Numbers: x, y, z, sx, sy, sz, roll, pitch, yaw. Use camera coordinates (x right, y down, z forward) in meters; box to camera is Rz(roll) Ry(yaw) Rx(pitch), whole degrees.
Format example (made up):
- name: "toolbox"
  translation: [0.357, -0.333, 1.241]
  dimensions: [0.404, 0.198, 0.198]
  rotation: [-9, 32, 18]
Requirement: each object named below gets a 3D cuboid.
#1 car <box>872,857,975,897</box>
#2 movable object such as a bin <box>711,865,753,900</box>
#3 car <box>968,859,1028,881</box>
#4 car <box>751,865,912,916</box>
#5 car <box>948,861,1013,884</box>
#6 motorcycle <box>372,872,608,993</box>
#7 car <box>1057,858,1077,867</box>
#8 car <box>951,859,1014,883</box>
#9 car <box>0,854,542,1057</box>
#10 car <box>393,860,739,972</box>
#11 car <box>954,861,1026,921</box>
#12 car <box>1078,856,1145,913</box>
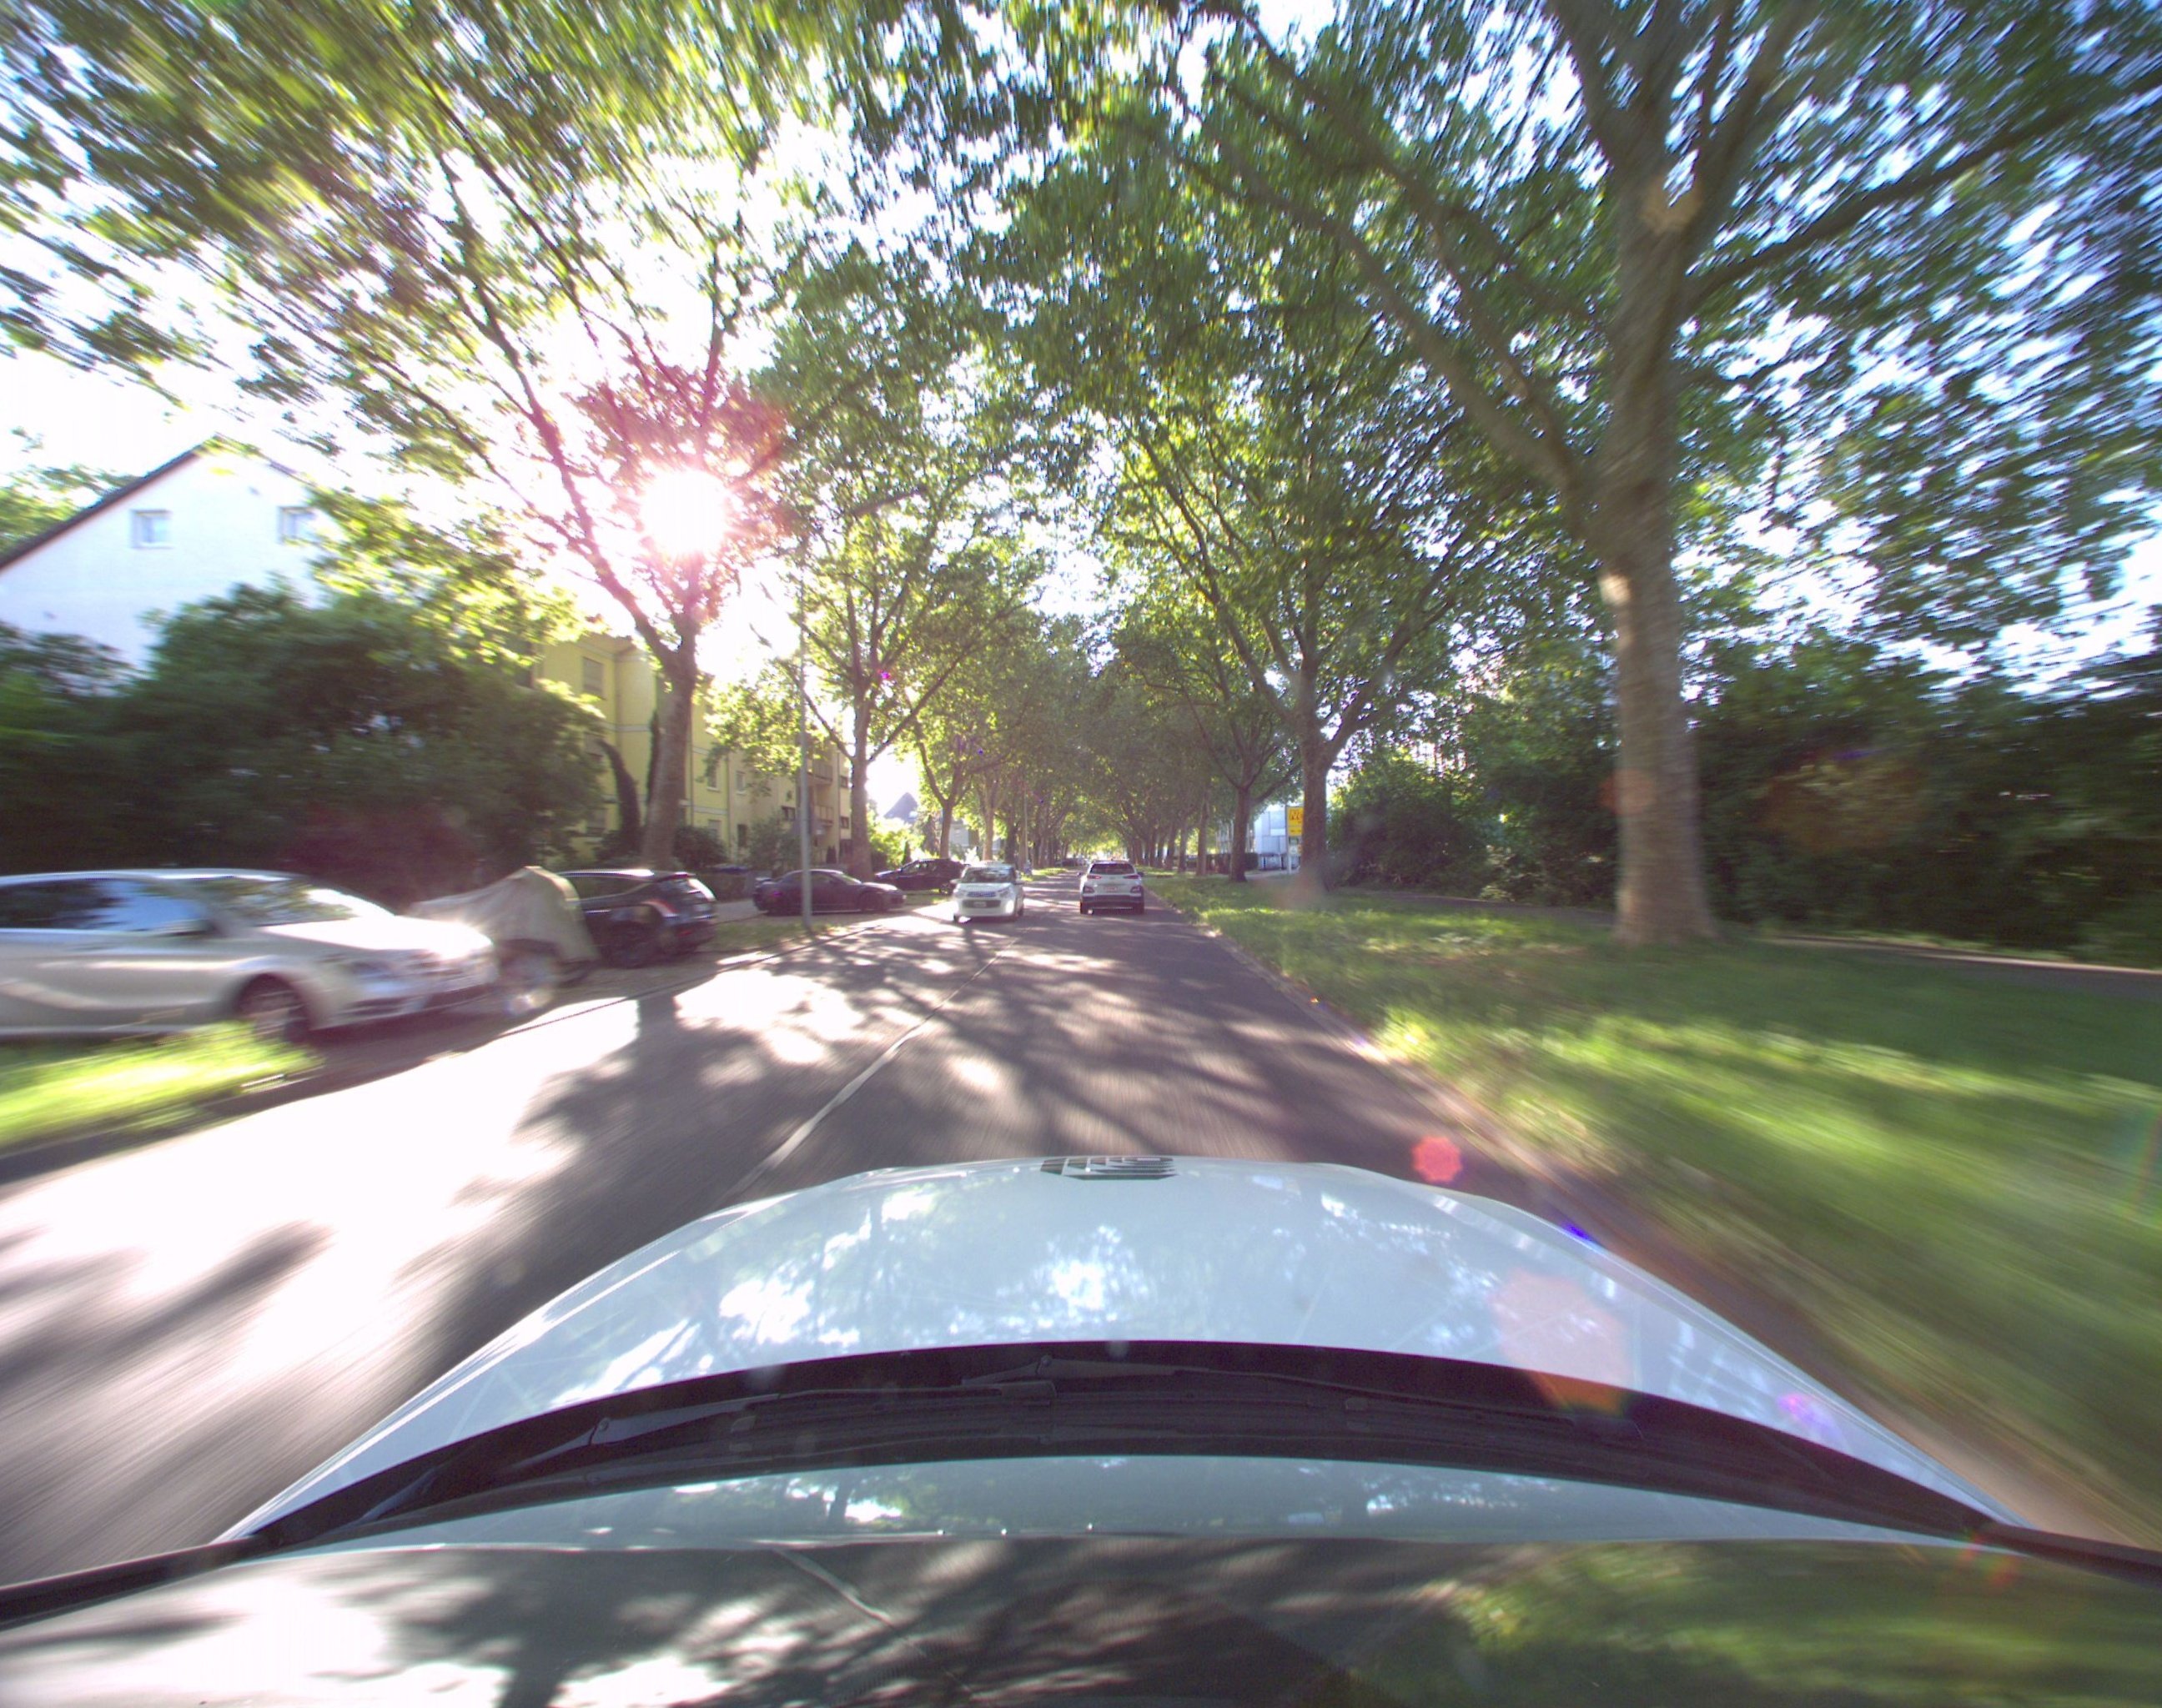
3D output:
- name: "car"
  translation: [-7.013, 0.995, 36.432]
  dimensions: [4.228, 1.680, 1.671]
  rotation: [-1, -1, 1]
- name: "movable object such as a bin"
  translation: [-13.846, 1.112, 32.335]
  dimensions: [1.181, 1.350, 0.954]
  rotation: [-2, -1, 1]
- name: "car"
  translation: [-5.876, 1.117, 57.666]
  dimensions: [3.970, 1.470, 1.810]
  rotation: [-1, -1, 2]
- name: "car"
  translation: [-7.366, 1.056, 24.315]
  dimensions: [4.227, 1.353, 1.741]
  rotation: [-2, -1, -1]
- name: "car"
  translation: [-6.416, 1.171, 52.243]
  dimensions: [3.977, 1.424, 1.807]
  rotation: [-1, -1, -3]
- name: "motorcycle"
  translation: [-7.306, 0.944, 10.148]
  dimensions: [2.381, 1.388, 0.647]
  rotation: [-1, -1, -4]
- name: "car"
  translation: [-2.792, 1.680, 164.241]
  dimensions: [3.978, 1.772, 1.998]
  rotation: [0, -1, -3]
- name: "car"
  translation: [-6.619, 1.150, 54.936]
  dimensions: [3.973, 1.520, 1.809]
  rotation: [-1, -1, 0]
- name: "car"
  translation: [-7.847, 0.836, 7.638]
  dimensions: [4.174, 1.584, 1.998]
  rotation: [-1, -1, -3]
- name: "car"
  translation: [-7.783, 0.896, 12.639]
  dimensions: [4.150, 1.506, 1.800]
  rotation: [-1, 0, -3]
- name: "car"
  translation: [-2.343, 0.918, 21.548]
  dimensions: [1.531, 1.459, 3.184]
  rotation: [-1, 0, -1]
- name: "car"
  translation: [0.882, 0.857, 24.310]
  dimensions: [1.829, 1.556, 4.001]
  rotation: [-1, -1, 1]
